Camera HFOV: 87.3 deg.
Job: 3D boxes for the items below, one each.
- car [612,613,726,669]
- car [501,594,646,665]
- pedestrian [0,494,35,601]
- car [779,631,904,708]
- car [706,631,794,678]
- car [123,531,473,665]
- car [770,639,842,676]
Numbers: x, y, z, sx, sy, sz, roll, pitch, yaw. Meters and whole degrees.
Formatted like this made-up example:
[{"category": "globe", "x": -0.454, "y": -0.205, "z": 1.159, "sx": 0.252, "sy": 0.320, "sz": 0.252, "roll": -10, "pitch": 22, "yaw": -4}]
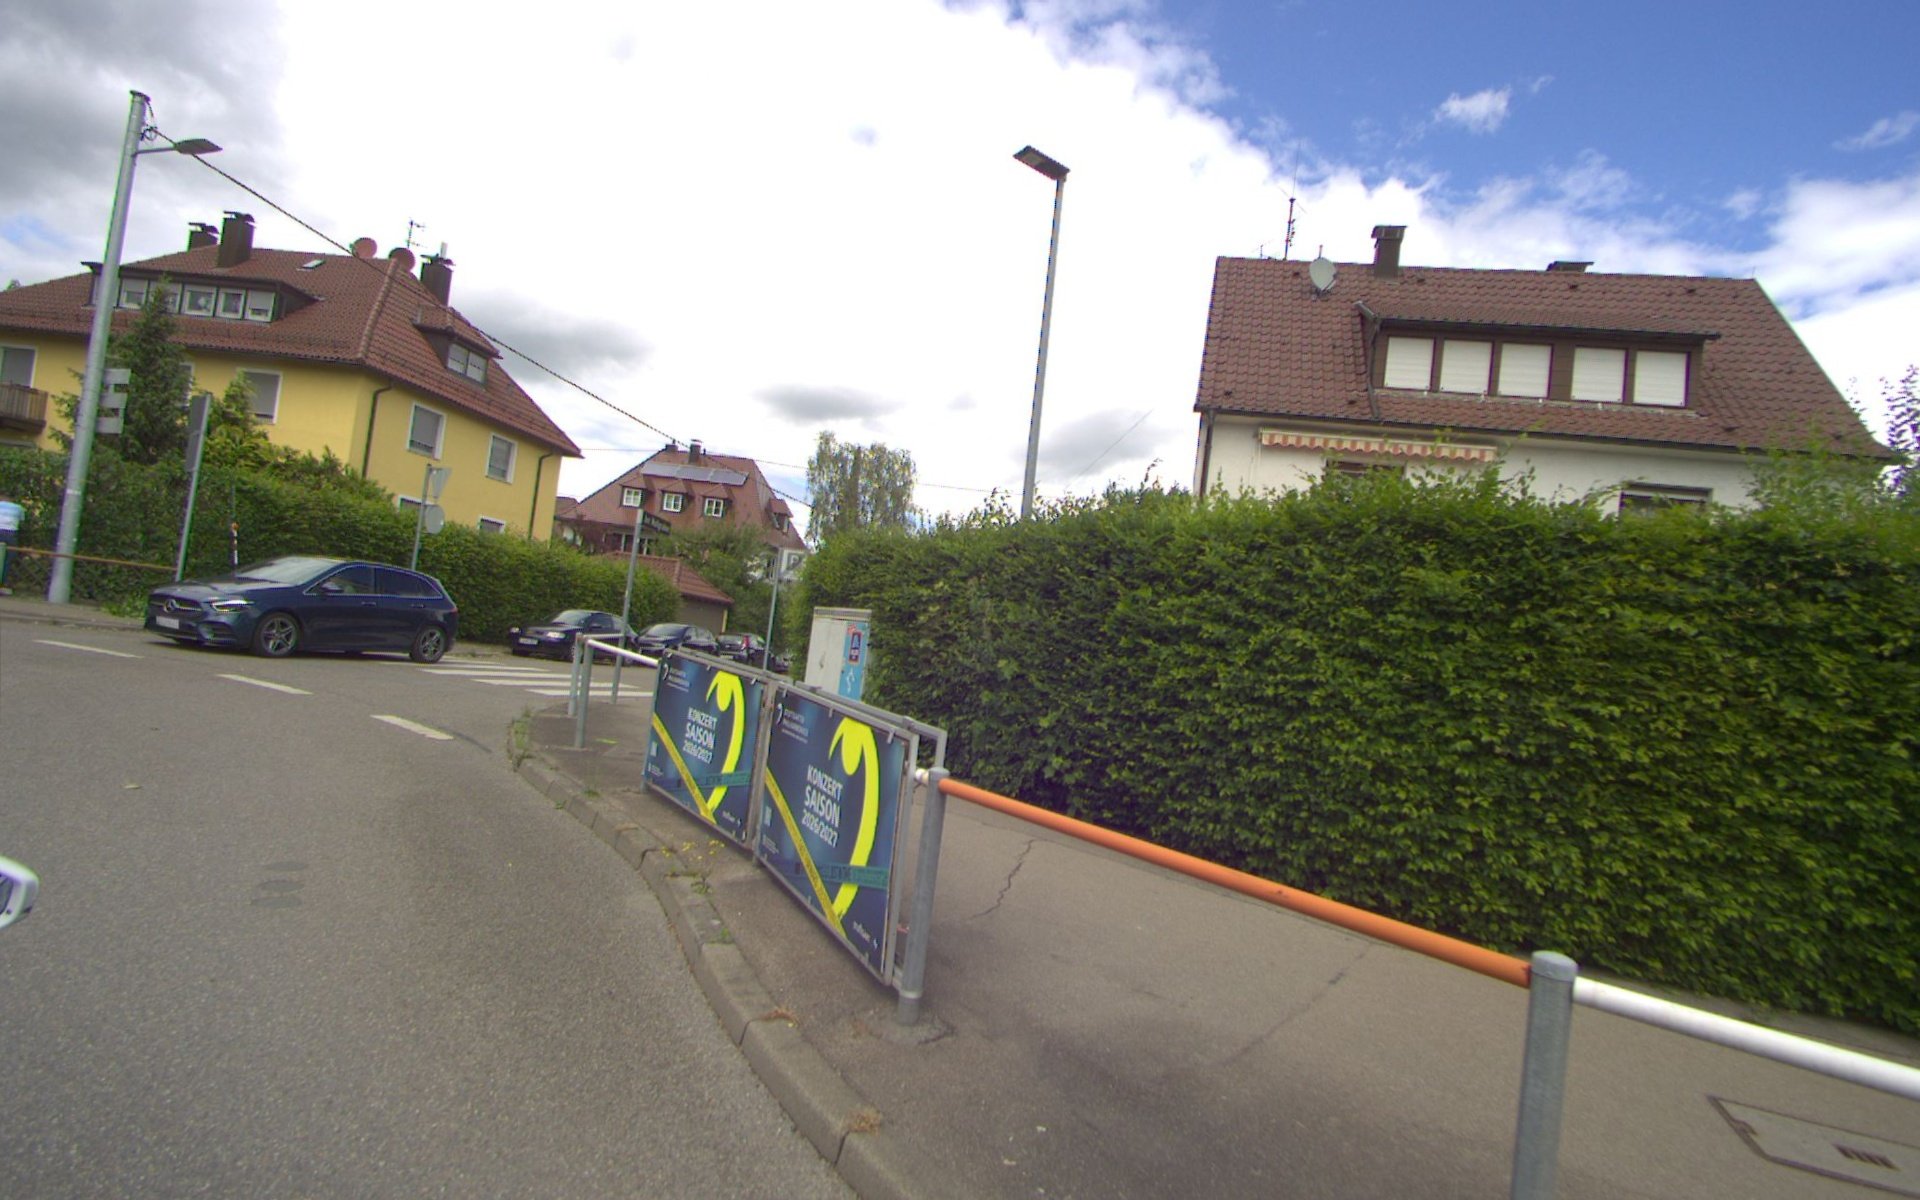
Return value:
[{"category": "car", "x": -8.833, "y": 1.314, "z": 30.841, "sx": 1.521, "sy": 1.419, "sz": 3.860, "roll": 8, "pitch": -2, "yaw": 13}, {"category": "car", "x": -9.945, "y": 0.818, "z": 26.187, "sx": 1.521, "sy": 1.362, "sz": 3.794, "roll": 8, "pitch": -4, "yaw": 13}, {"category": "pedestrian", "x": -15.557, "y": -0.875, "z": 16.250, "sx": 0.648, "sy": 1.675, "sz": 0.589, "roll": 8, "pitch": -2, "yaw": -35}, {"category": "car", "x": -2.725, "y": 1.710, "z": 23.929, "sx": 1.676, "sy": 1.469, "sz": 3.625, "roll": 8, "pitch": -4, "yaw": 13}, {"category": "car", "x": -7.637, "y": 2.023, "z": 36.899, "sx": 1.521, "sy": 1.419, "sz": 3.860, "roll": 8, "pitch": -2, "yaw": 13}, {"category": "car", "x": -9.739, "y": 0.090, "z": 15.284, "sx": 1.553, "sy": 1.465, "sz": 4.327, "roll": 7, "pitch": -3, "yaw": 16}, {"category": "car", "x": -6.434, "y": 2.447, "z": 42.500, "sx": 1.569, "sy": 1.354, "sz": 3.919, "roll": 4, "pitch": -3, "yaw": 13}]
